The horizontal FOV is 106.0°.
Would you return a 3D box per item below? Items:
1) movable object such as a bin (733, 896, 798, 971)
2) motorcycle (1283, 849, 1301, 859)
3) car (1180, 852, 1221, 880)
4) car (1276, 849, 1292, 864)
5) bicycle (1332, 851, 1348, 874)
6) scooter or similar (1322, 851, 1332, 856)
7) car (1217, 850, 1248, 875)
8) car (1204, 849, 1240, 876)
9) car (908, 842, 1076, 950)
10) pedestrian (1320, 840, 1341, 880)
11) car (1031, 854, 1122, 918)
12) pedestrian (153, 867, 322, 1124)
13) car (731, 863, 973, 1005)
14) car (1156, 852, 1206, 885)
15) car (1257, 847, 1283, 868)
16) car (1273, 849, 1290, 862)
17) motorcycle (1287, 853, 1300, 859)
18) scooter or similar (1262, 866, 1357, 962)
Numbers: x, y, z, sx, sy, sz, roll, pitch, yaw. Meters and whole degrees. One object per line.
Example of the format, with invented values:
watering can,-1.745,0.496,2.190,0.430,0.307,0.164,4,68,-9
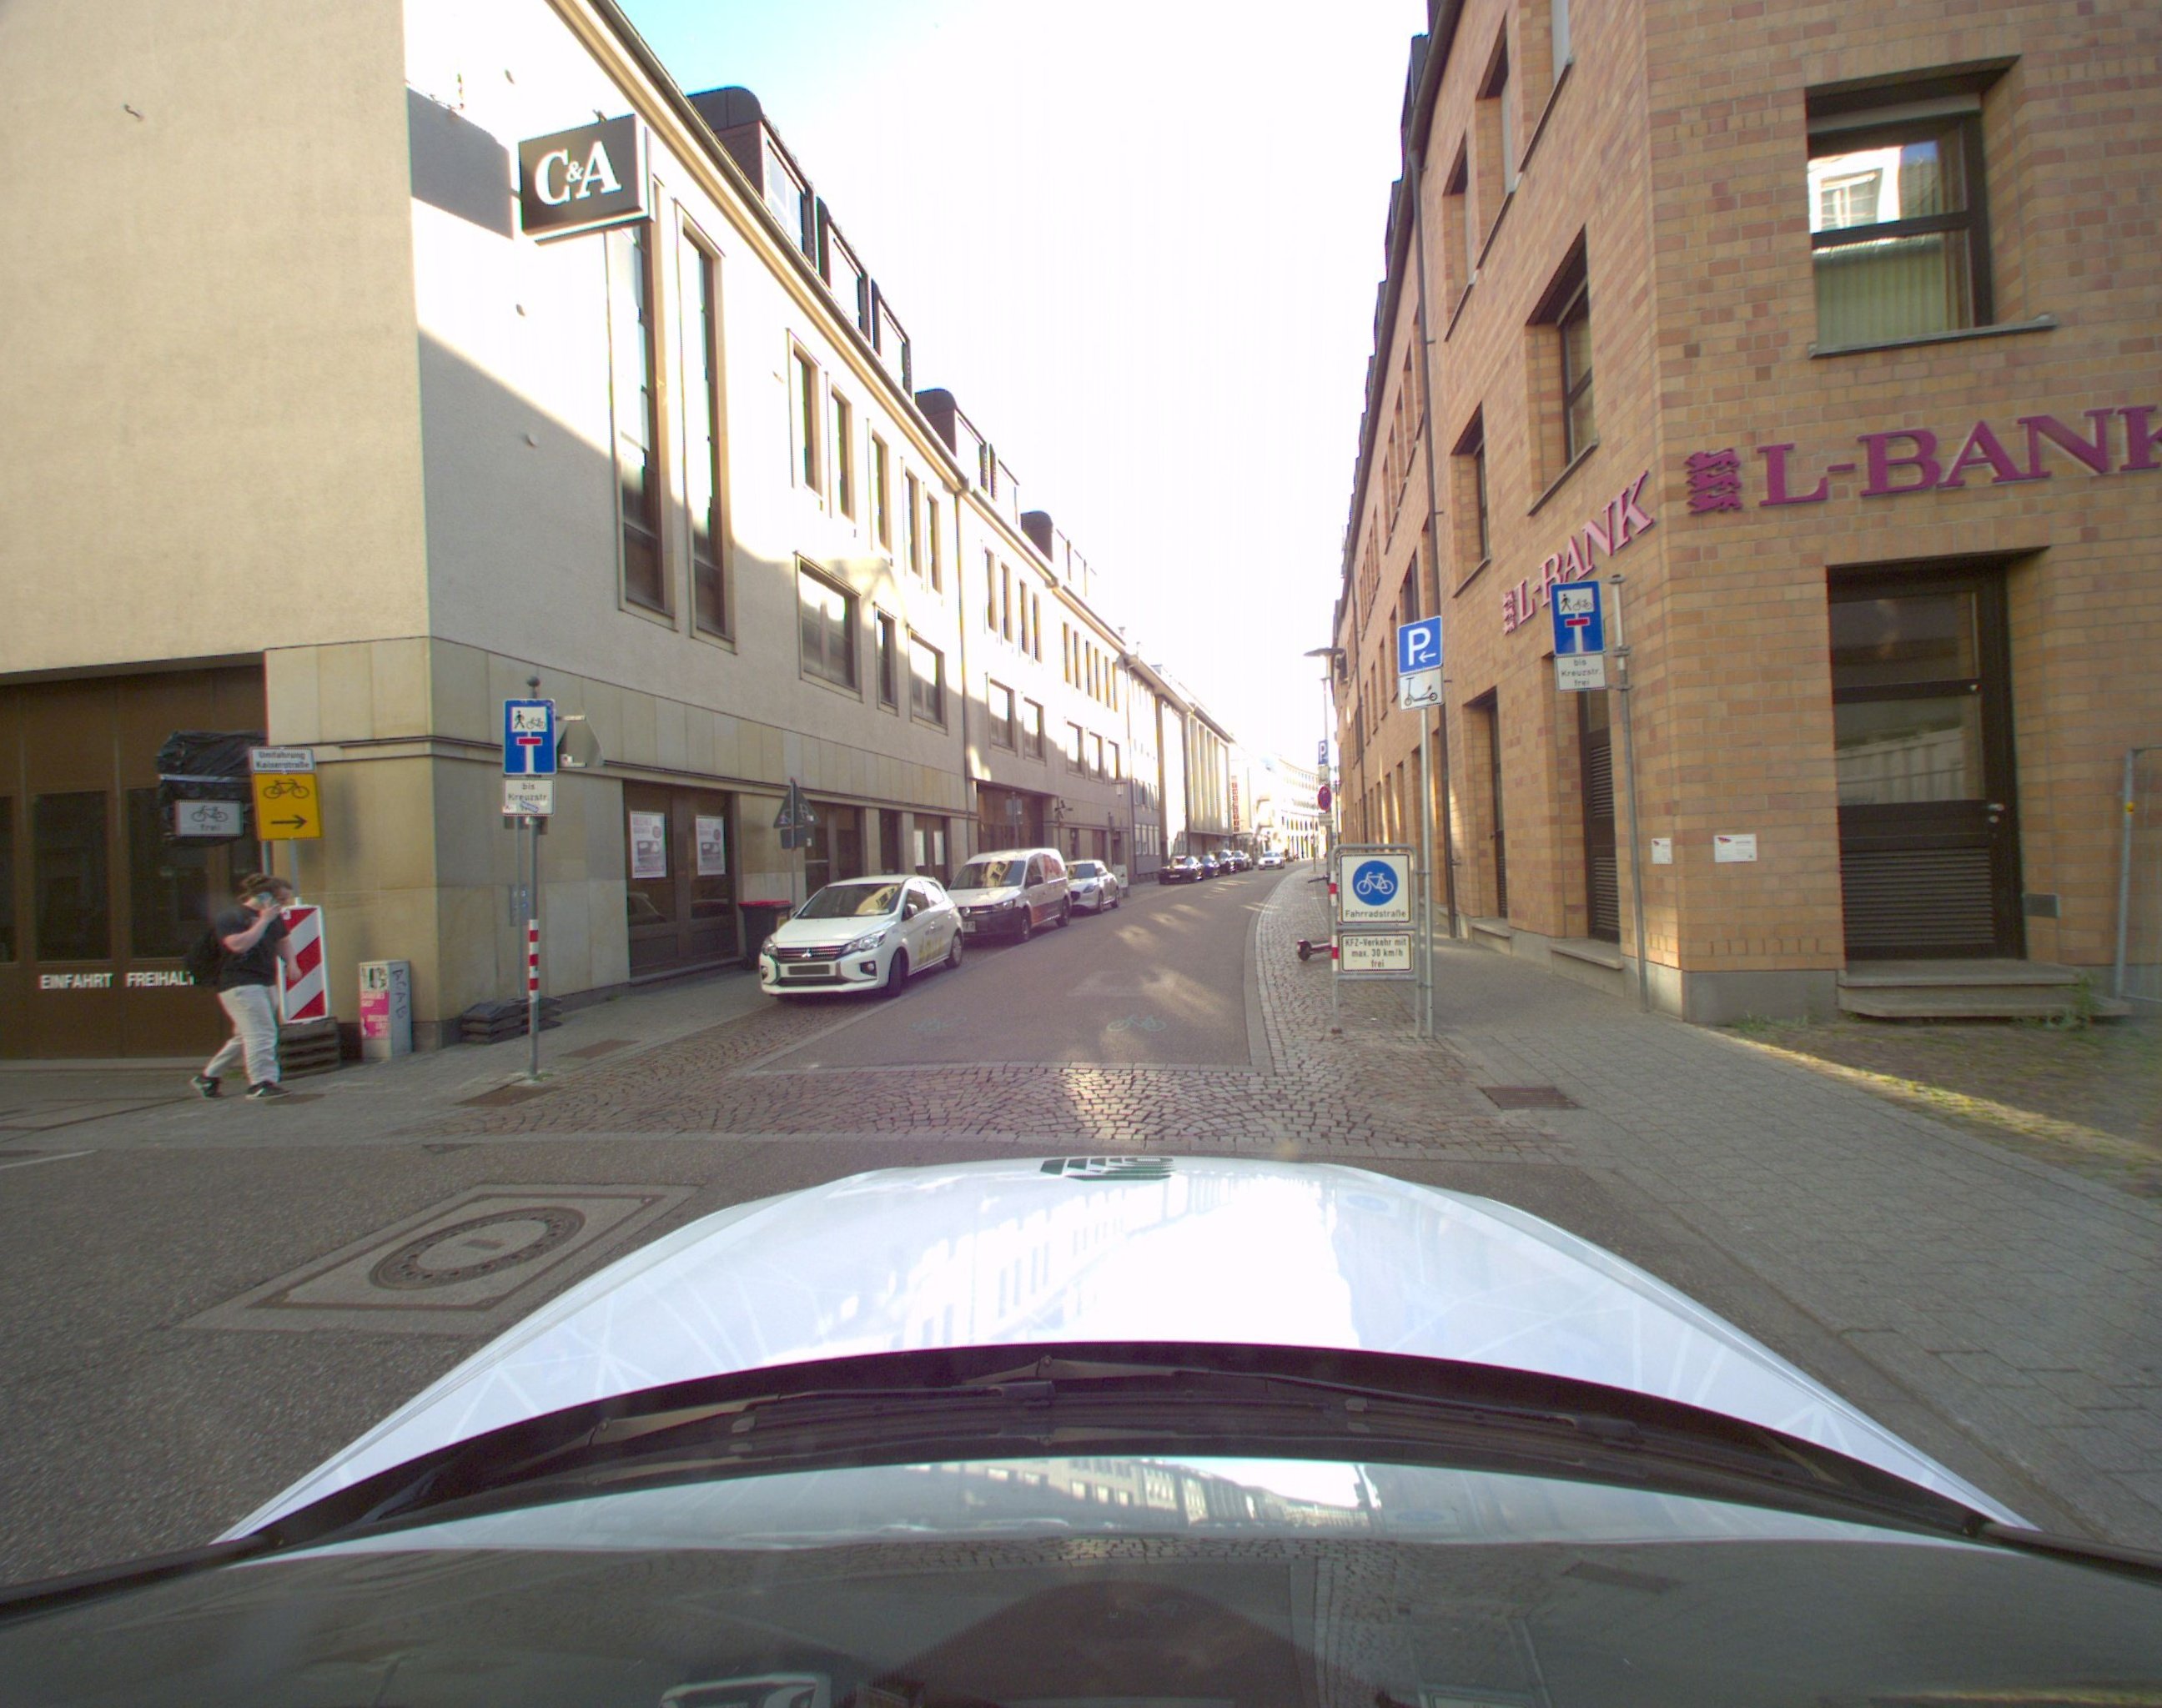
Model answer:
movable object such as a bin,-4.870,1.207,12.597,0.732,1.101,0.592,-1,-1,9
motorcycle,30.172,0.011,116.583,2.371,1.317,0.866,-4,-1,18
car,7.289,0.677,49.373,1.876,1.530,4.357,-3,0,15
car,22.626,0.256,90.723,1.627,1.517,4.177,-3,0,15
bicycle,13.771,0.446,43.255,0.546,1.103,1.989,-6,-1,13
scooter or similar,44.311,-0.081,146.535,2.239,0.928,0.520,-2,0,-42
car,11.589,0.631,62.124,1.876,1.742,4.408,-3,0,15
car,9.603,0.545,55.321,1.876,1.675,4.572,-3,0,15
car,-1.649,0.756,17.066,1.886,1.857,4.751,-4,-1,13
pedestrian,11.382,0.267,37.117,0.755,1.716,0.825,-5,-1,15
car,-0.025,0.855,23.251,1.658,1.522,3.789,-5,-1,13
pedestrian,-6.747,1.065,6.568,0.867,1.854,0.707,-2,-2,-43
car,-2.902,0.949,11.269,1.727,1.492,3.808,-4,0,8
car,5.387,0.713,43.370,1.876,1.530,4.748,-3,0,15
car,14.890,0.253,64.024,1.702,1.517,4.177,-3,0,15
car,26.087,0.150,105.966,1.722,1.606,3.550,-2,0,19
motorcycle,29.402,0.296,112.473,1.676,0.859,0.598,-1,-1,23
scooter or similar,3.279,0.822,11.633,1.425,1.235,0.532,-2,1,-38
